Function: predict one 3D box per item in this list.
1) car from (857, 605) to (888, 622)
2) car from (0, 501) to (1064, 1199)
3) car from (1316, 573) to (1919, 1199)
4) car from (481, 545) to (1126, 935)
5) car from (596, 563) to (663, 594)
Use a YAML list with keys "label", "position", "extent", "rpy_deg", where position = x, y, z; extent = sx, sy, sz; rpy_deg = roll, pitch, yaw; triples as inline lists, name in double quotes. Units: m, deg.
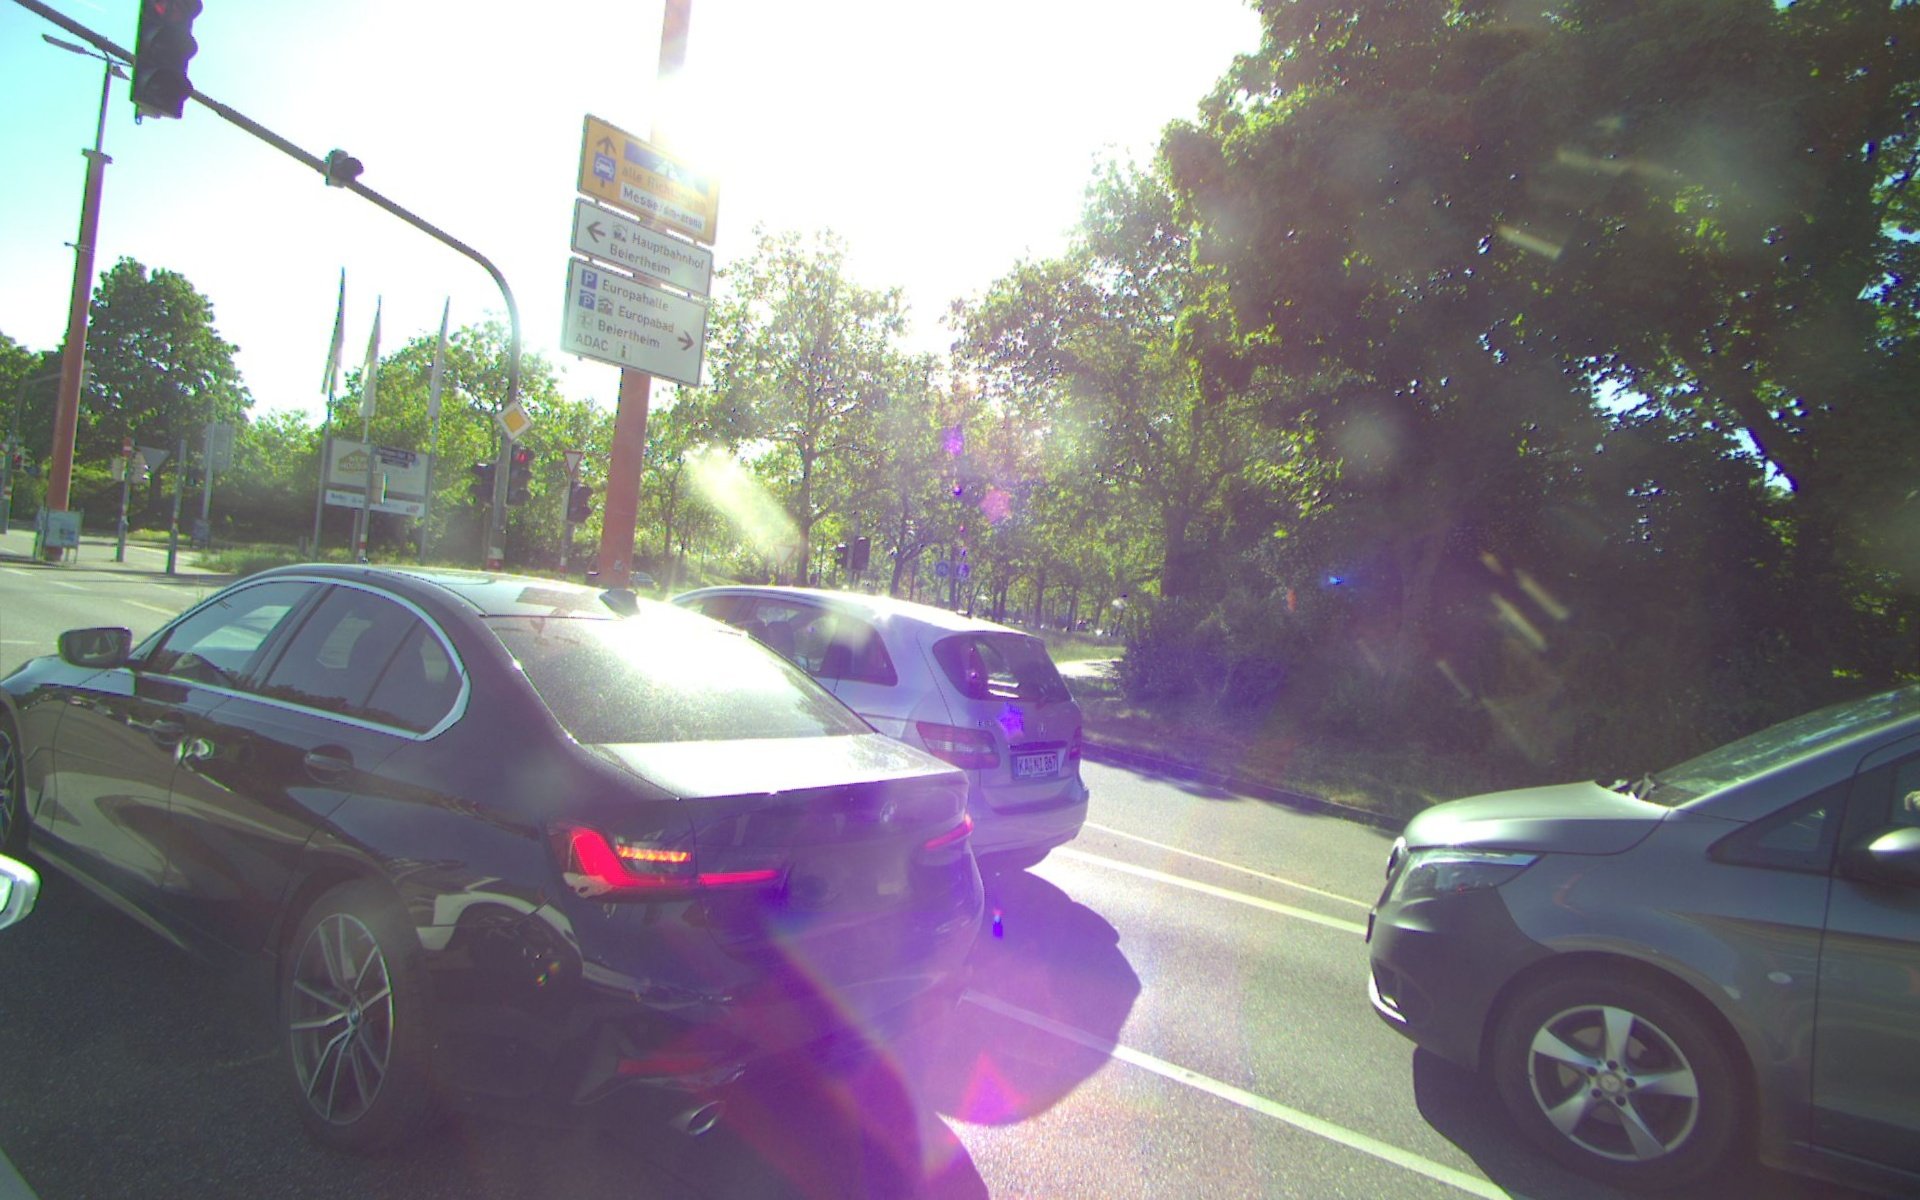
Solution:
- label: "car"
  position: [-10.297, 1.605, 118.981]
  extent: [1.737, 1.655, 4.297]
  rpy_deg: [7, -1, 23]
- label: "car"
  position: [-1.960, 0.579, 3.784]
  extent: [4.226, 1.458, 1.766]
  rpy_deg: [6, -2, 34]
- label: "car"
  position: [3.992, 1.141, 3.099]
  extent: [5.021, 1.875, 1.806]
  rpy_deg: [7, 0, 34]
- label: "car"
  position: [-1.098, 0.696, 6.520]
  extent: [3.784, 1.626, 1.719]
  rpy_deg: [6, -2, 32]
- label: "car"
  position: [-24.426, -1.555, 74.450]
  extent: [1.743, 1.654, 4.285]
  rpy_deg: [6, -2, 38]
